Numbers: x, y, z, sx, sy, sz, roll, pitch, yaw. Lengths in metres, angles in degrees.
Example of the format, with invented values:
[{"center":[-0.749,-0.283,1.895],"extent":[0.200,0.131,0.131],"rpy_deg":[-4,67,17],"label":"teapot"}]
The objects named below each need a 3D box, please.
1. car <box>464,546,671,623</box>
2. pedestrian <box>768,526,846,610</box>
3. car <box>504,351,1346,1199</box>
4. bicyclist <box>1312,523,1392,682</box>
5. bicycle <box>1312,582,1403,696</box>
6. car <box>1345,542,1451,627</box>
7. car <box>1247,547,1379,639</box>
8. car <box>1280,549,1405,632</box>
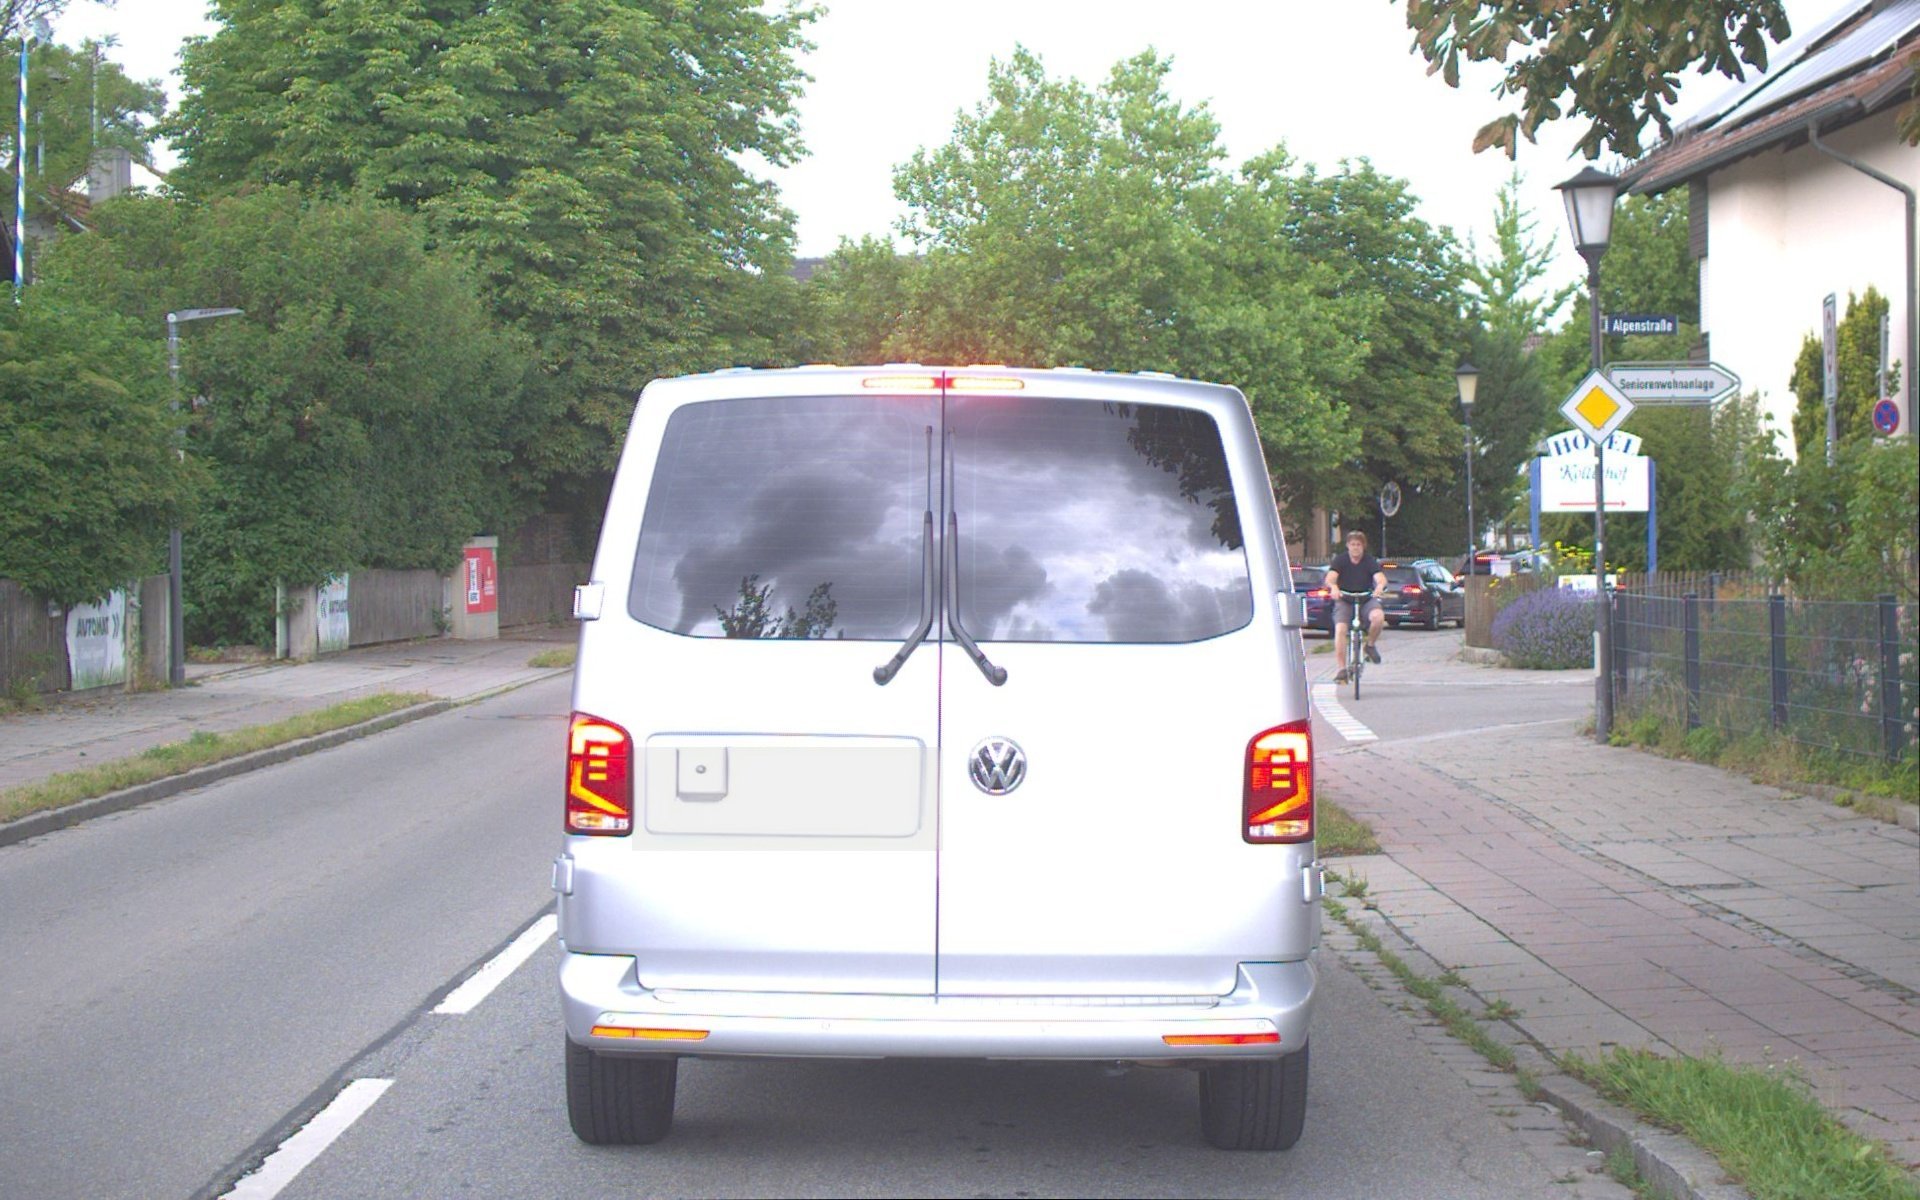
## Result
[{"center":[-7.723,-0.315,67.559],"extent":[3.986,1.481,2.001],"rpy_deg":[0,1,-8],"label":"car"},{"center":[-3.295,-0.693,73.816],"extent":[1.318,1.796,1.069],"rpy_deg":[0,1,-31],"label":"pedestrian"},{"center":[-0.061,0.385,9.672],"extent":[1.881,1.934,3.921],"rpy_deg":[0,1,1],"label":"car"},{"center":[4.071,0.022,35.770],"extent":[0.736,1.627,0.890],"rpy_deg":[0,1,1],"label":"bicyclist"},{"center":[4.125,0.388,35.775],"extent":[0.764,1.139,1.845],"rpy_deg":[0,1,1],"label":"bicycle"},{"center":[9.281,-0.355,72.629],"extent":[1.882,1.742,4.078],"rpy_deg":[0,1,12],"label":"car"},{"center":[6.169,-0.146,59.747],"extent":[1.882,1.530,3.919],"rpy_deg":[0,1,12],"label":"car"},{"center":[7.311,-0.200,65.483],"extent":[1.882,1.530,3.918],"rpy_deg":[0,1,14],"label":"car"}]
